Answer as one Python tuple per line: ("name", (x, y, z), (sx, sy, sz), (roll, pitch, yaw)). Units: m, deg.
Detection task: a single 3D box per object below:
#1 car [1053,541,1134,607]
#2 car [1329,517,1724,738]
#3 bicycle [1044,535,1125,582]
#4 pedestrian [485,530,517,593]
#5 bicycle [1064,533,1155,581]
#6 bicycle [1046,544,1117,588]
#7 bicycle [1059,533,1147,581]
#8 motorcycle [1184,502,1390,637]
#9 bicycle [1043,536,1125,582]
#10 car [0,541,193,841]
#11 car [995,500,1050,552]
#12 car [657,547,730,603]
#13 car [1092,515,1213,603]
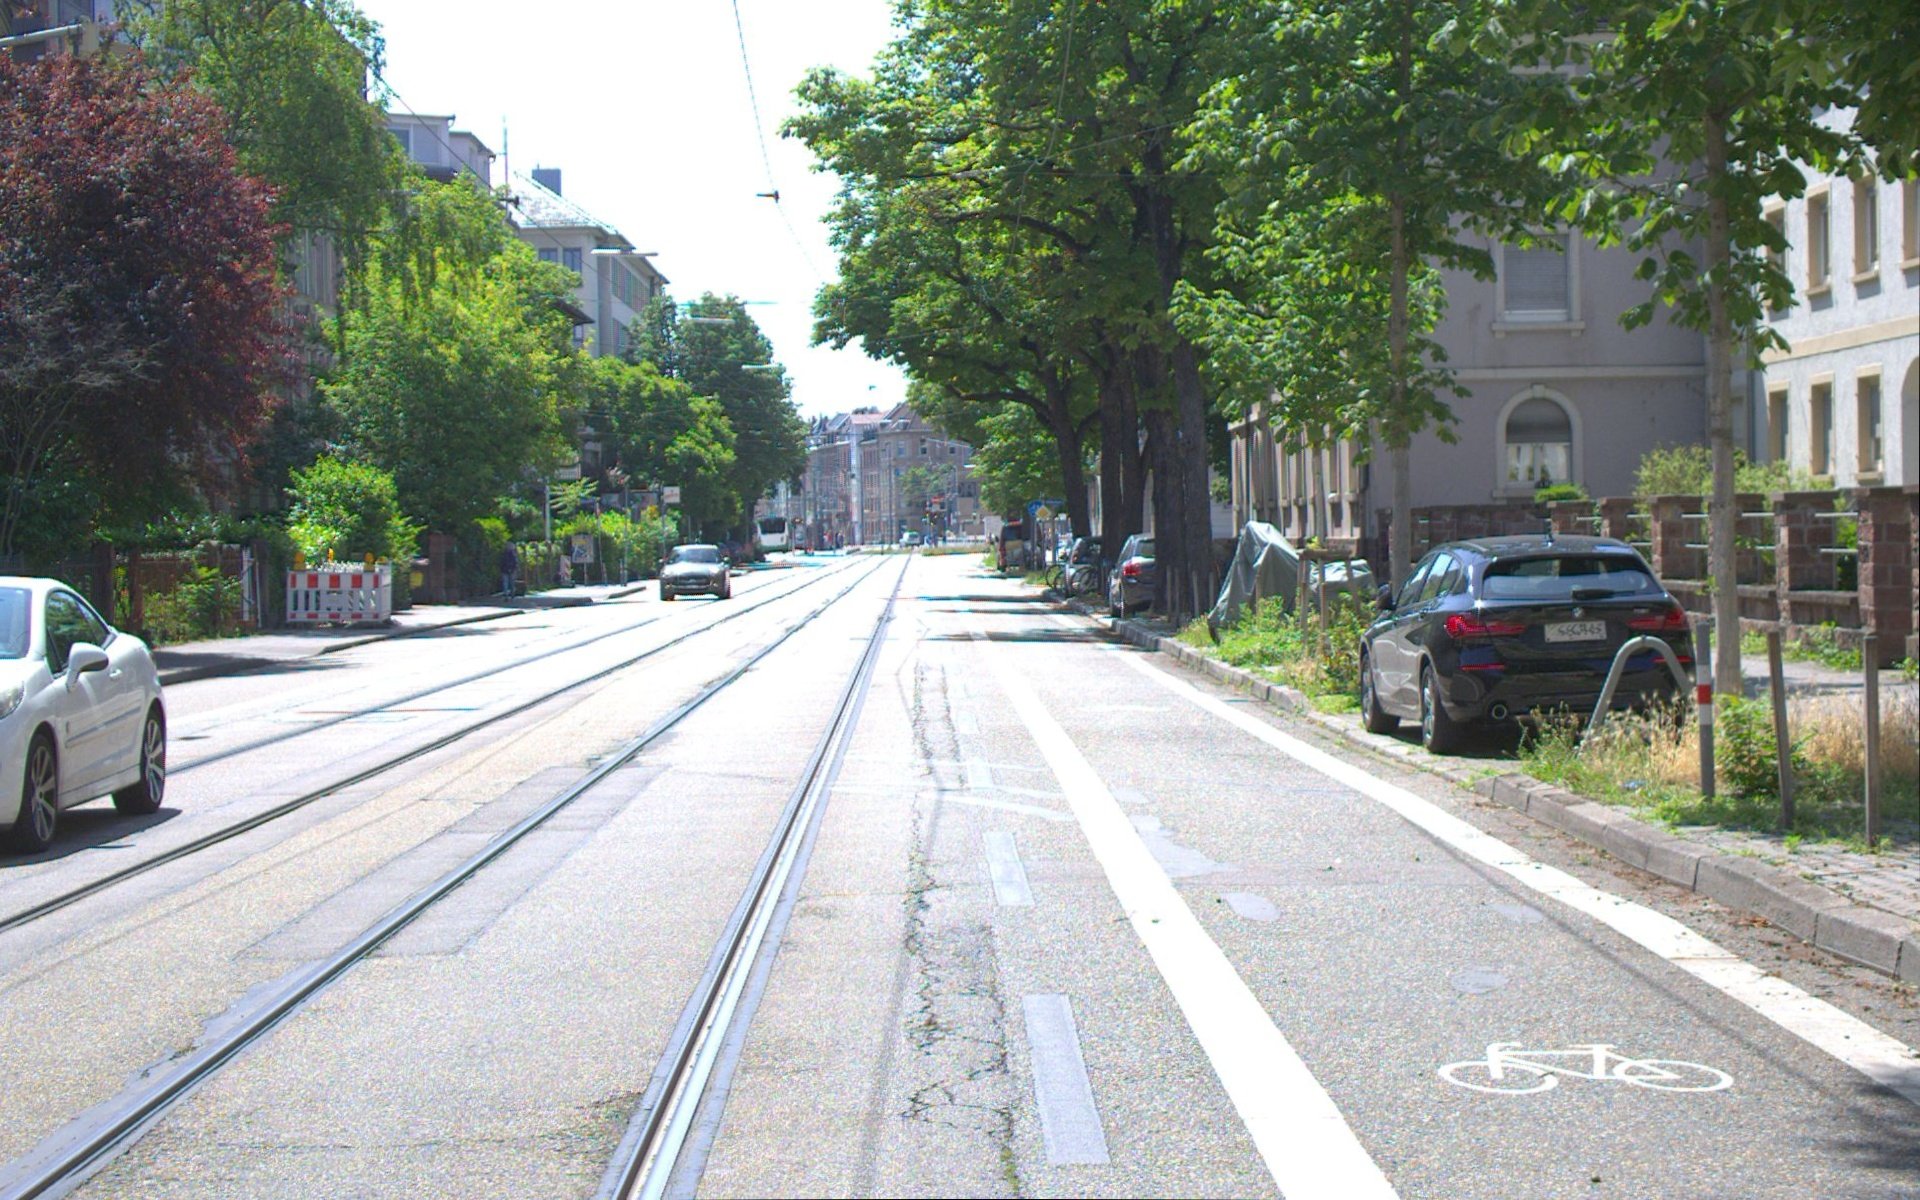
("car", (3.084, -0.595, 80.166), (1.621, 1.443, 3.810), (-2, 0, -1))
("car", (3.906, 0.128, 24.536), (1.769, 1.422, 4.863), (0, 1, -3))
("bicycle", (3.073, -1.015, 84.680), (1.963, 1.109, 0.598), (-1, -1, 2))
("pedestrian", (-11.915, -1.003, 89.257), (0.750, 1.623, 0.833), (1, 0, -5))
("bicycle", (3.300, -0.952, 75.962), (1.963, 1.059, 0.598), (0, 0, 6))
("bicycle", (3.164, -0.893, 89.501), (1.816, 1.109, 0.493), (-1, -1, -1))
("bicycle", (3.149, -0.943, 75.568), (1.890, 1.048, 0.538), (0, 0, 6))
("motorcycle", (3.796, -0.367, 40.053), (2.319, 1.535, 0.867), (1, 1, 42))
("bicycle", (3.084, -1.019, 85.345), (2.010, 1.109, 0.640), (-1, -1, 2))
("car", (-5.401, 0.419, 18.285), (1.756, 1.419, 4.000), (-1, 1, 0))
("car", (2.440, -2.893, 134.694), (1.993, 2.028, 4.697), (0, 1, -1))
("car", (-7.015, -0.671, 90.608), (1.686, 1.449, 3.748), (0, 1, -1))
("car", (3.402, -0.744, 61.512), (1.774, 1.496, 4.306), (-1, 1, -2))
